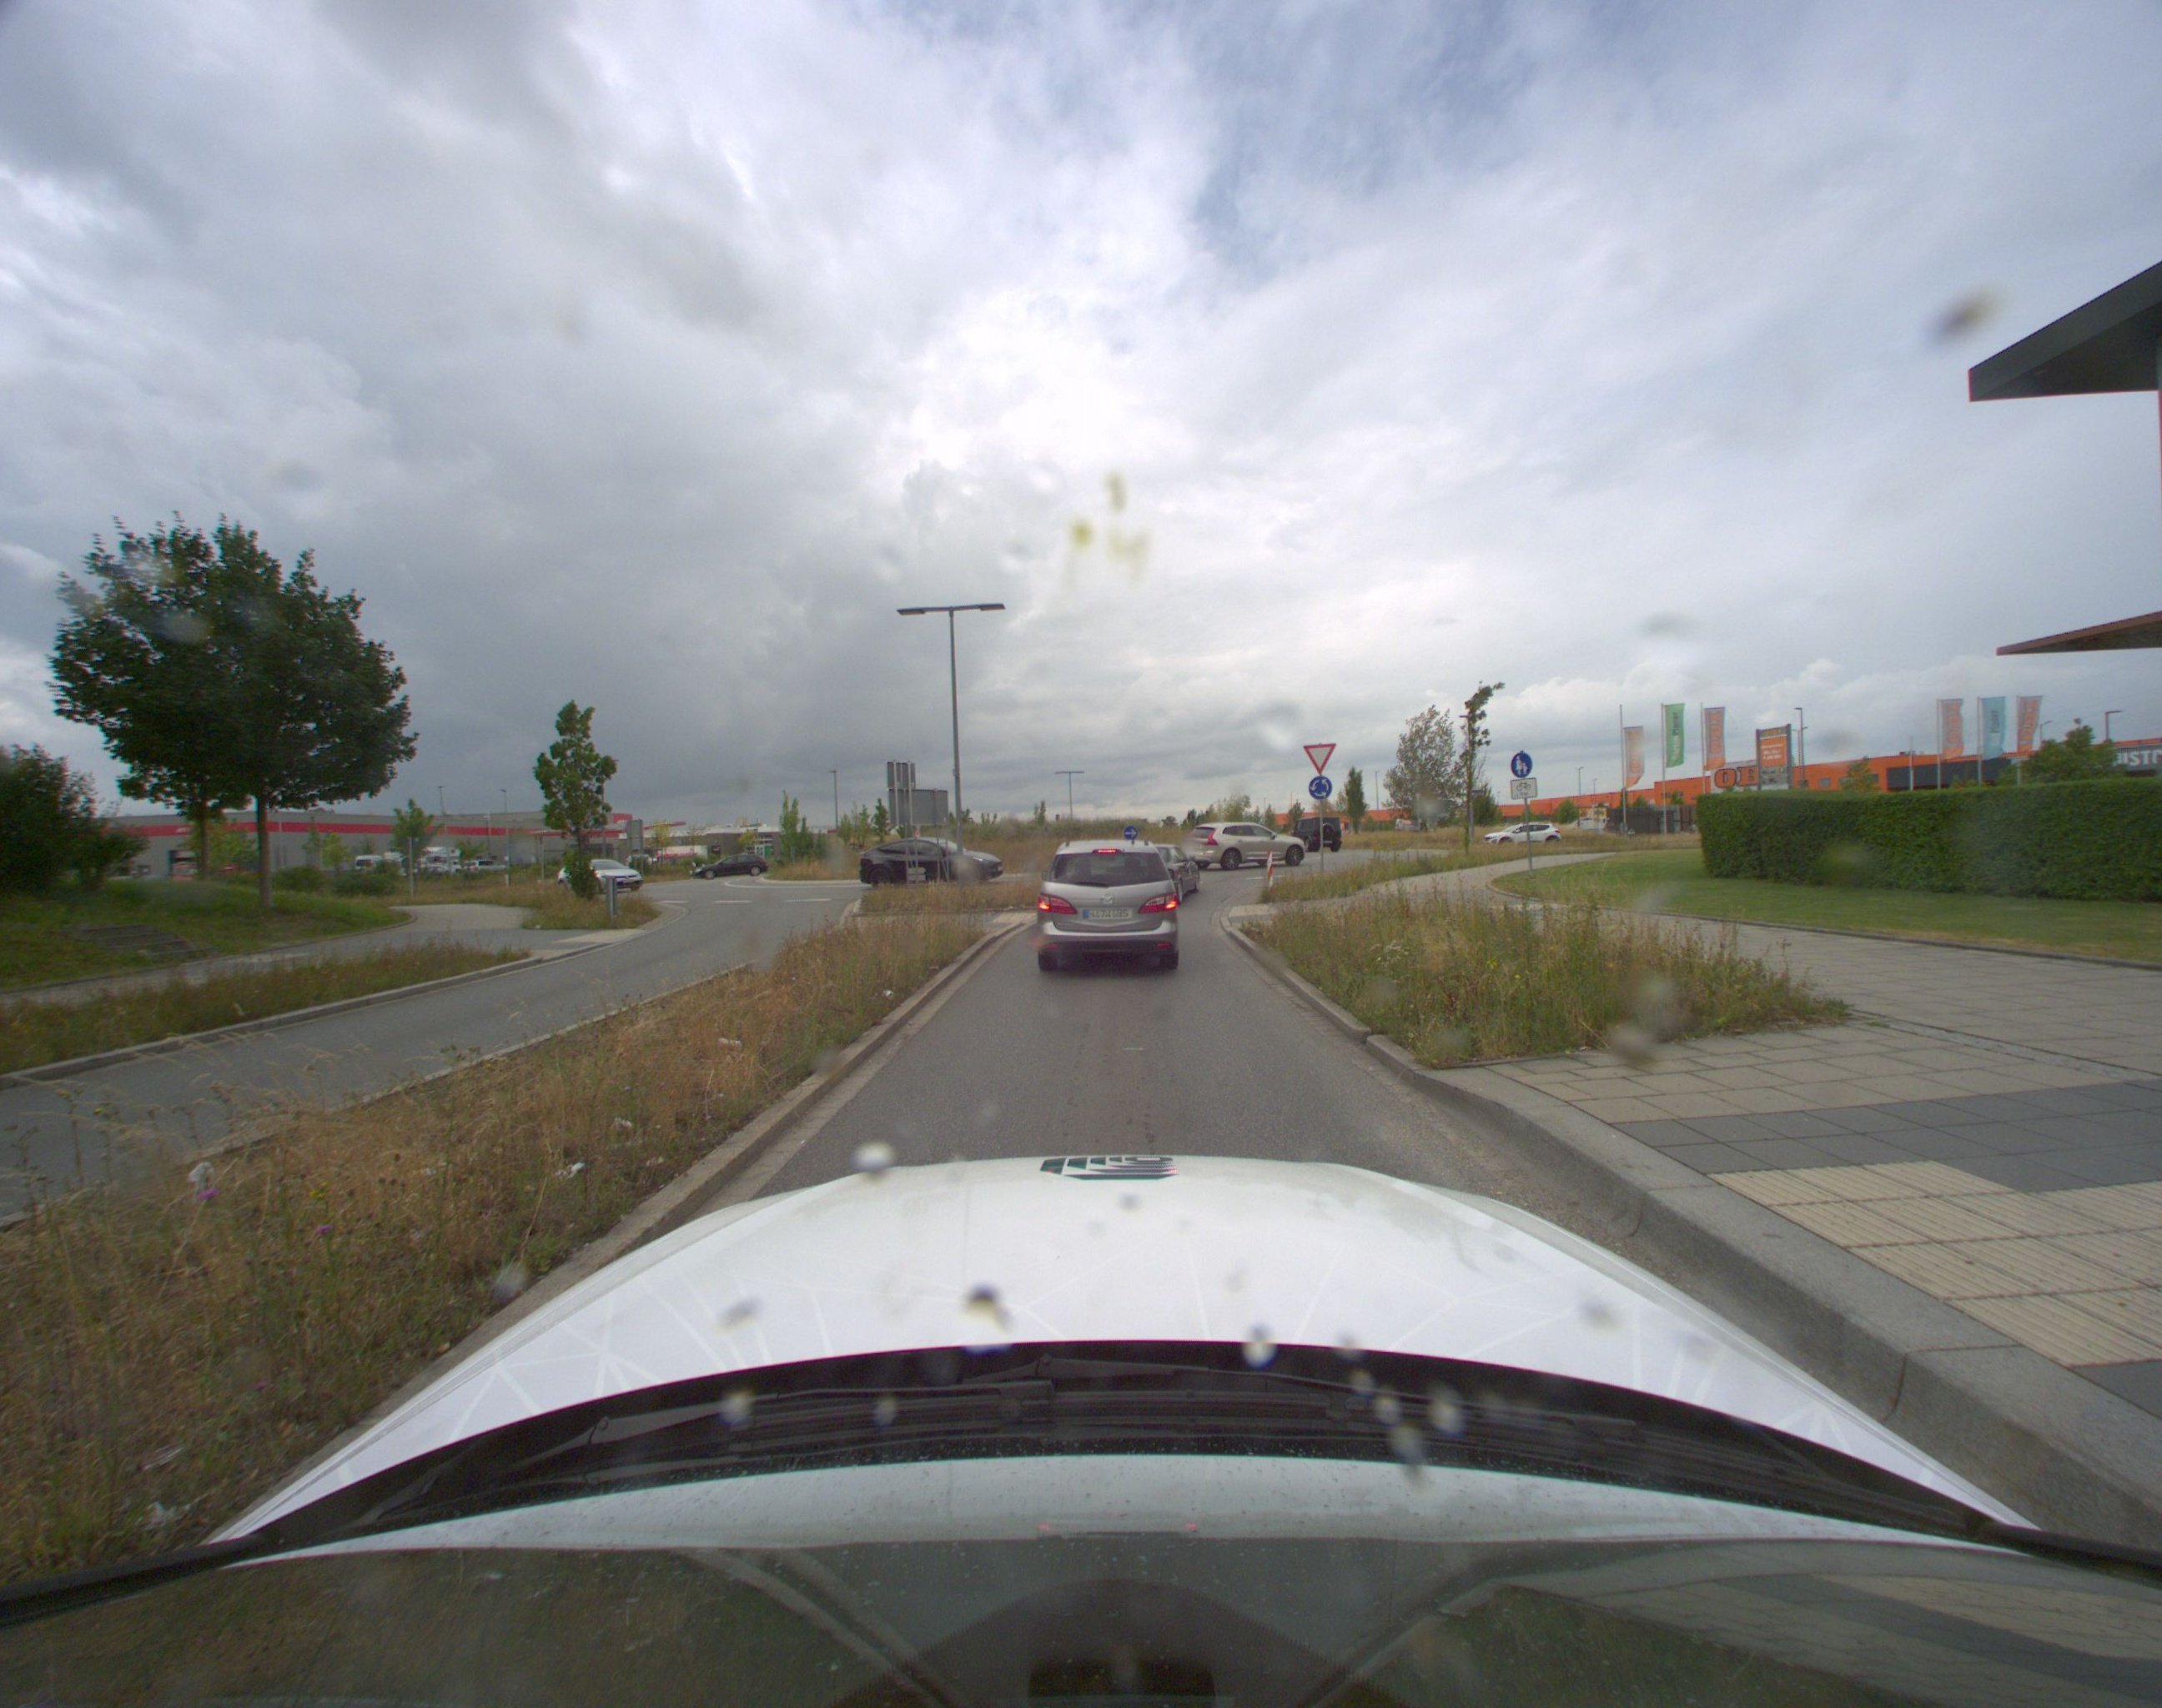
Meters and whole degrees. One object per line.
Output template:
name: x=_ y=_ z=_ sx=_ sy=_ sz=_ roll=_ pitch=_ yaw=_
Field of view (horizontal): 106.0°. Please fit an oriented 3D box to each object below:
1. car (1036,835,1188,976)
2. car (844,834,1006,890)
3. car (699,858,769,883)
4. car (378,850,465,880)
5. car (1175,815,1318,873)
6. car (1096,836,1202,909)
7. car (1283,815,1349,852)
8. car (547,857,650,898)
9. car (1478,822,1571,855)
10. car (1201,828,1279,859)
car: x=0.415 y=0.547 z=11.322 sx=1.731 sy=1.598 sz=3.999 roll=0 pitch=1 yaw=1
car: x=-5.047 y=0.246 z=26.727 sx=4.731 sy=1.498 sz=1.950 roll=-3 pitch=2 yaw=9
car: x=-21.345 y=0.987 z=50.182 sx=3.857 sy=1.325 sz=1.457 roll=-2 pitch=0 yaw=-27
car: x=-65.767 y=1.108 z=81.480 sx=2.455 sy=2.820 sz=7.688 roll=0 pitch=-1 yaw=0
car: x=5.980 y=-0.397 z=29.360 sx=4.781 sy=1.738 sz=1.929 roll=-4 pitch=3 yaw=-24
car: x=1.745 y=0.348 z=19.459 sx=1.724 sy=1.403 sz=4.016 roll=0 pitch=3 yaw=16
car: x=13.375 y=-1.199 z=46.635 sx=2.073 sy=1.886 sz=4.769 roll=-3 pitch=2 yaw=-4
car: x=-20.251 y=0.980 z=34.150 sx=3.949 sy=1.464 sz=1.825 roll=-3 pitch=1 yaw=28
car: x=25.421 y=-0.896 z=46.772 sx=4.307 sy=1.648 sz=1.873 roll=-3 pitch=2 yaw=4
car: x=10.666 y=-0.676 z=54.870 sx=2.097 sy=1.886 sz=4.715 roll=-5 pitch=3 yaw=-44
